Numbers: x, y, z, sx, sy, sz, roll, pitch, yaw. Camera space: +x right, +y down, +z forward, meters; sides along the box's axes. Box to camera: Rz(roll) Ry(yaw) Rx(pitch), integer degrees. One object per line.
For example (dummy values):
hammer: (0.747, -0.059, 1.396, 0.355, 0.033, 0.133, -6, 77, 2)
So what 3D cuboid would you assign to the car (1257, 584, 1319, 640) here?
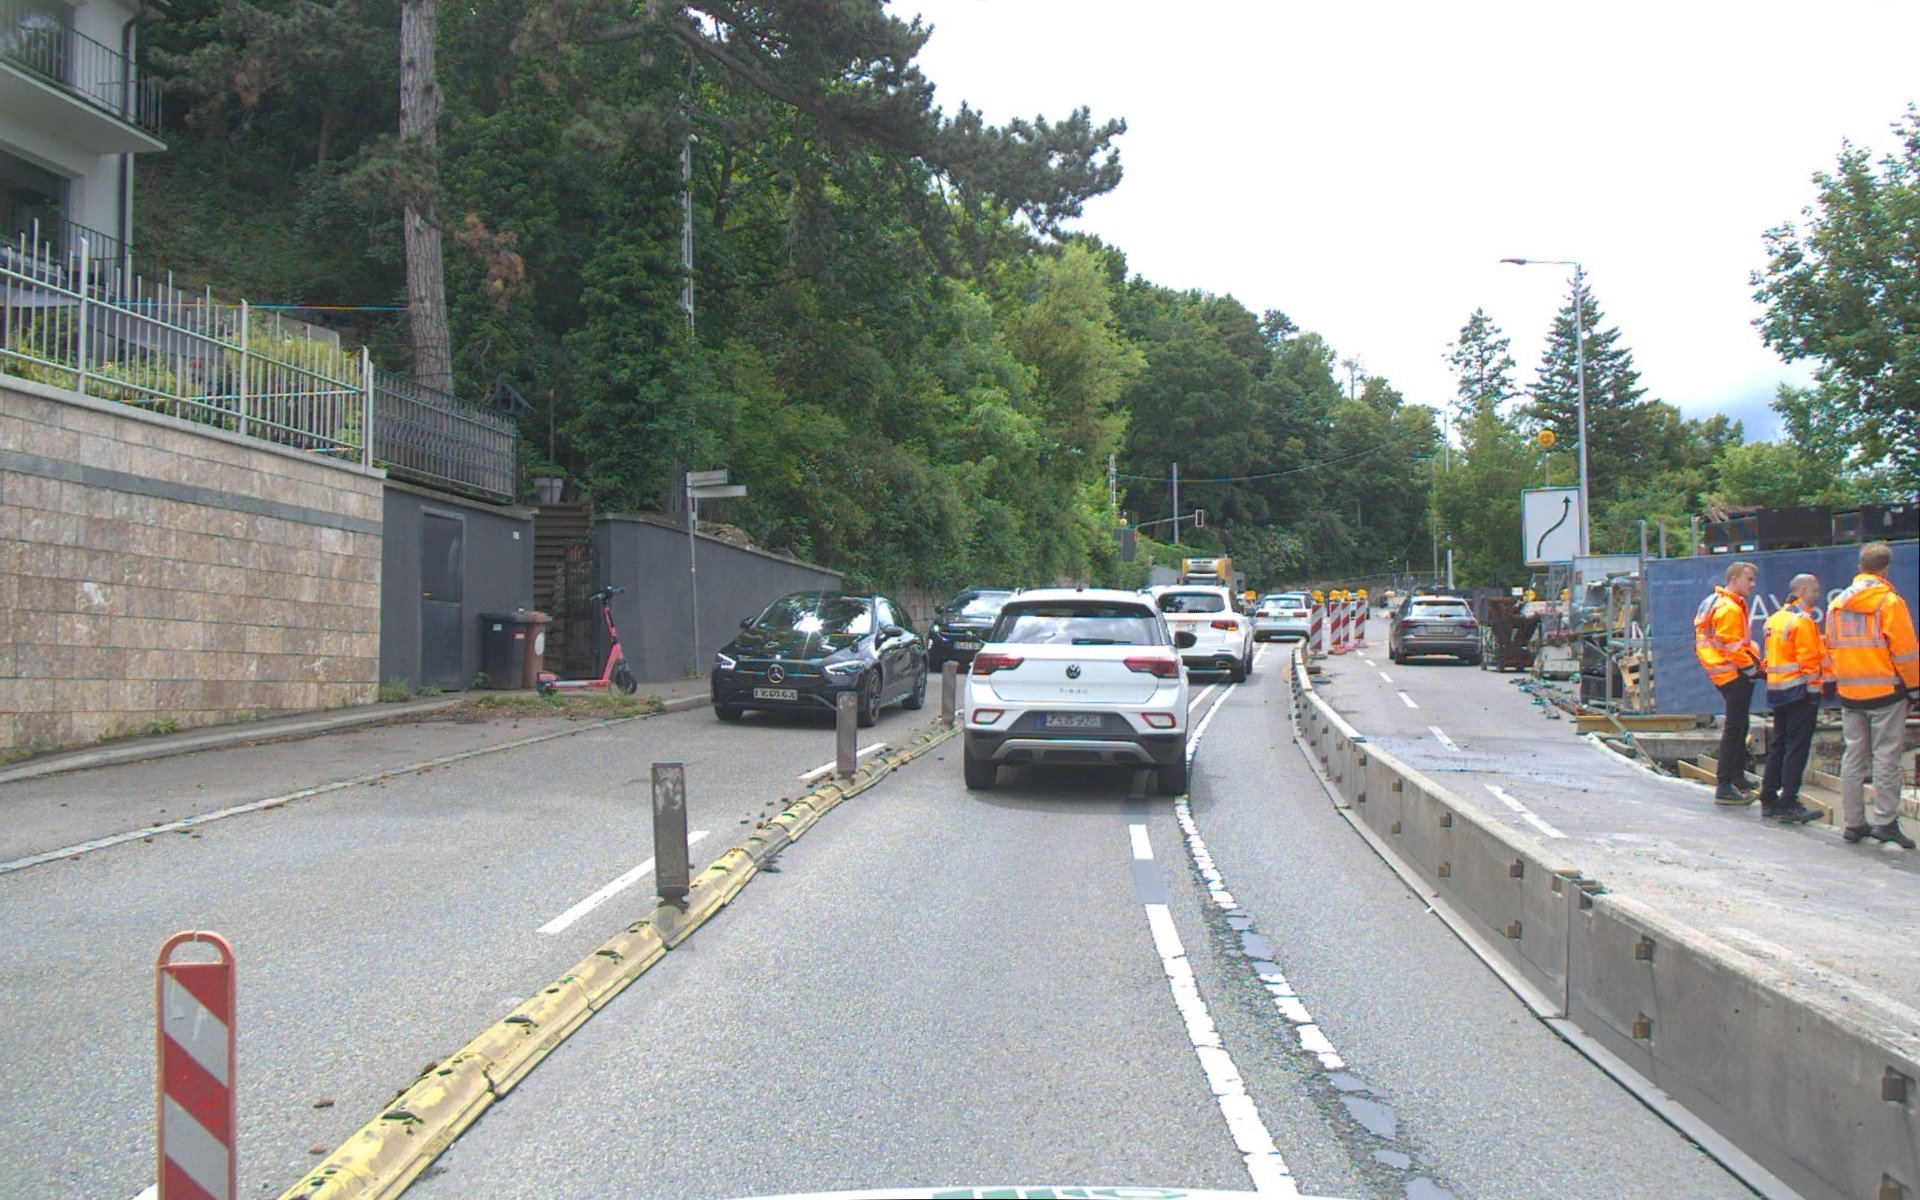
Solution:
car: (10.356, 0.348, 52.074, 1.771, 1.692, 4.003, 0, 0, 13)

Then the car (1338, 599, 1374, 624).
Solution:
car: (21.876, 0.619, 91.487, 1.756, 1.392, 4.003, 0, 0, 11)

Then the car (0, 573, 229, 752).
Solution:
car: (-8.602, 0.541, 15.070, 1.744, 1.478, 3.705, 1, -2, 10)

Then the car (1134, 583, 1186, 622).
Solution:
car: (8.070, 0.095, 66.593, 1.730, 1.477, 4.312, 2, 0, 11)

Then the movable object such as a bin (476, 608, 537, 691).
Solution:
movable object such as a bin: (-5.457, 0.588, 19.915, 0.537, 0.994, 0.510, 0, 0, 12)

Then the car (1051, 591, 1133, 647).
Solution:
car: (3.853, 0.510, 47.610, 1.730, 1.477, 4.312, 2, 0, 12)

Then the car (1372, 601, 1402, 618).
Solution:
car: (34.133, 0.747, 132.092, 1.758, 1.392, 3.999, 0, 0, 23)

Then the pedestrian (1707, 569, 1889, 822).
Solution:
pedestrian: (6.023, 0.662, 11.939, 0.858, 1.761, 0.878, 0, 0, -1)

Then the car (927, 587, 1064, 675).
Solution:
car: (0.748, 0.531, 31.189, 1.730, 1.477, 4.312, 2, 0, 12)

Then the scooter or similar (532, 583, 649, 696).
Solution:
scooter or similar: (-4.258, 0.455, 19.049, 1.287, 1.277, 0.465, 1, 0, -16)

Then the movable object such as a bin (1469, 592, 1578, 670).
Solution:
movable object such as a bin: (10.849, 0.577, 31.949, 1.366, 1.450, 1.905, 1, 0, -4)

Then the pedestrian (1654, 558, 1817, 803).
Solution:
pedestrian: (6.062, 0.607, 12.975, 0.858, 1.854, 0.878, 0, 0, -1)

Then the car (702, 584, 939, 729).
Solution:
car: (-1.506, 0.587, 19.561, 1.730, 1.460, 4.312, 2, 0, 9)

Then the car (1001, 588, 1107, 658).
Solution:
car: (2.236, 0.497, 38.303, 1.730, 1.477, 4.312, 2, 0, 12)

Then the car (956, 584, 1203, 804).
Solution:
car: (1.097, 0.678, 14.031, 1.771, 1.558, 4.003, 1, 0, 7)

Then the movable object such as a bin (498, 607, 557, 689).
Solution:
movable object such as a bin: (-5.354, 0.590, 20.476, 0.537, 0.994, 0.510, 0, 0, 12)

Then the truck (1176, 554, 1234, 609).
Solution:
truck: (15.066, -1.065, 101.281, 2.842, 3.210, 7.590, 0, 0, 13)

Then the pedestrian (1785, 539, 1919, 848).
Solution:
pedestrian: (6.016, 0.587, 10.889, 0.678, 1.940, 0.823, 0, 0, -13)

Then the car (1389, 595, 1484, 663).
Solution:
car: (10.289, 0.584, 35.932, 1.756, 1.392, 4.003, 0, 0, 13)

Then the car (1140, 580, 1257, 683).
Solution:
car: (4.317, 0.510, 29.495, 1.771, 1.692, 4.004, 0, 0, 12)
